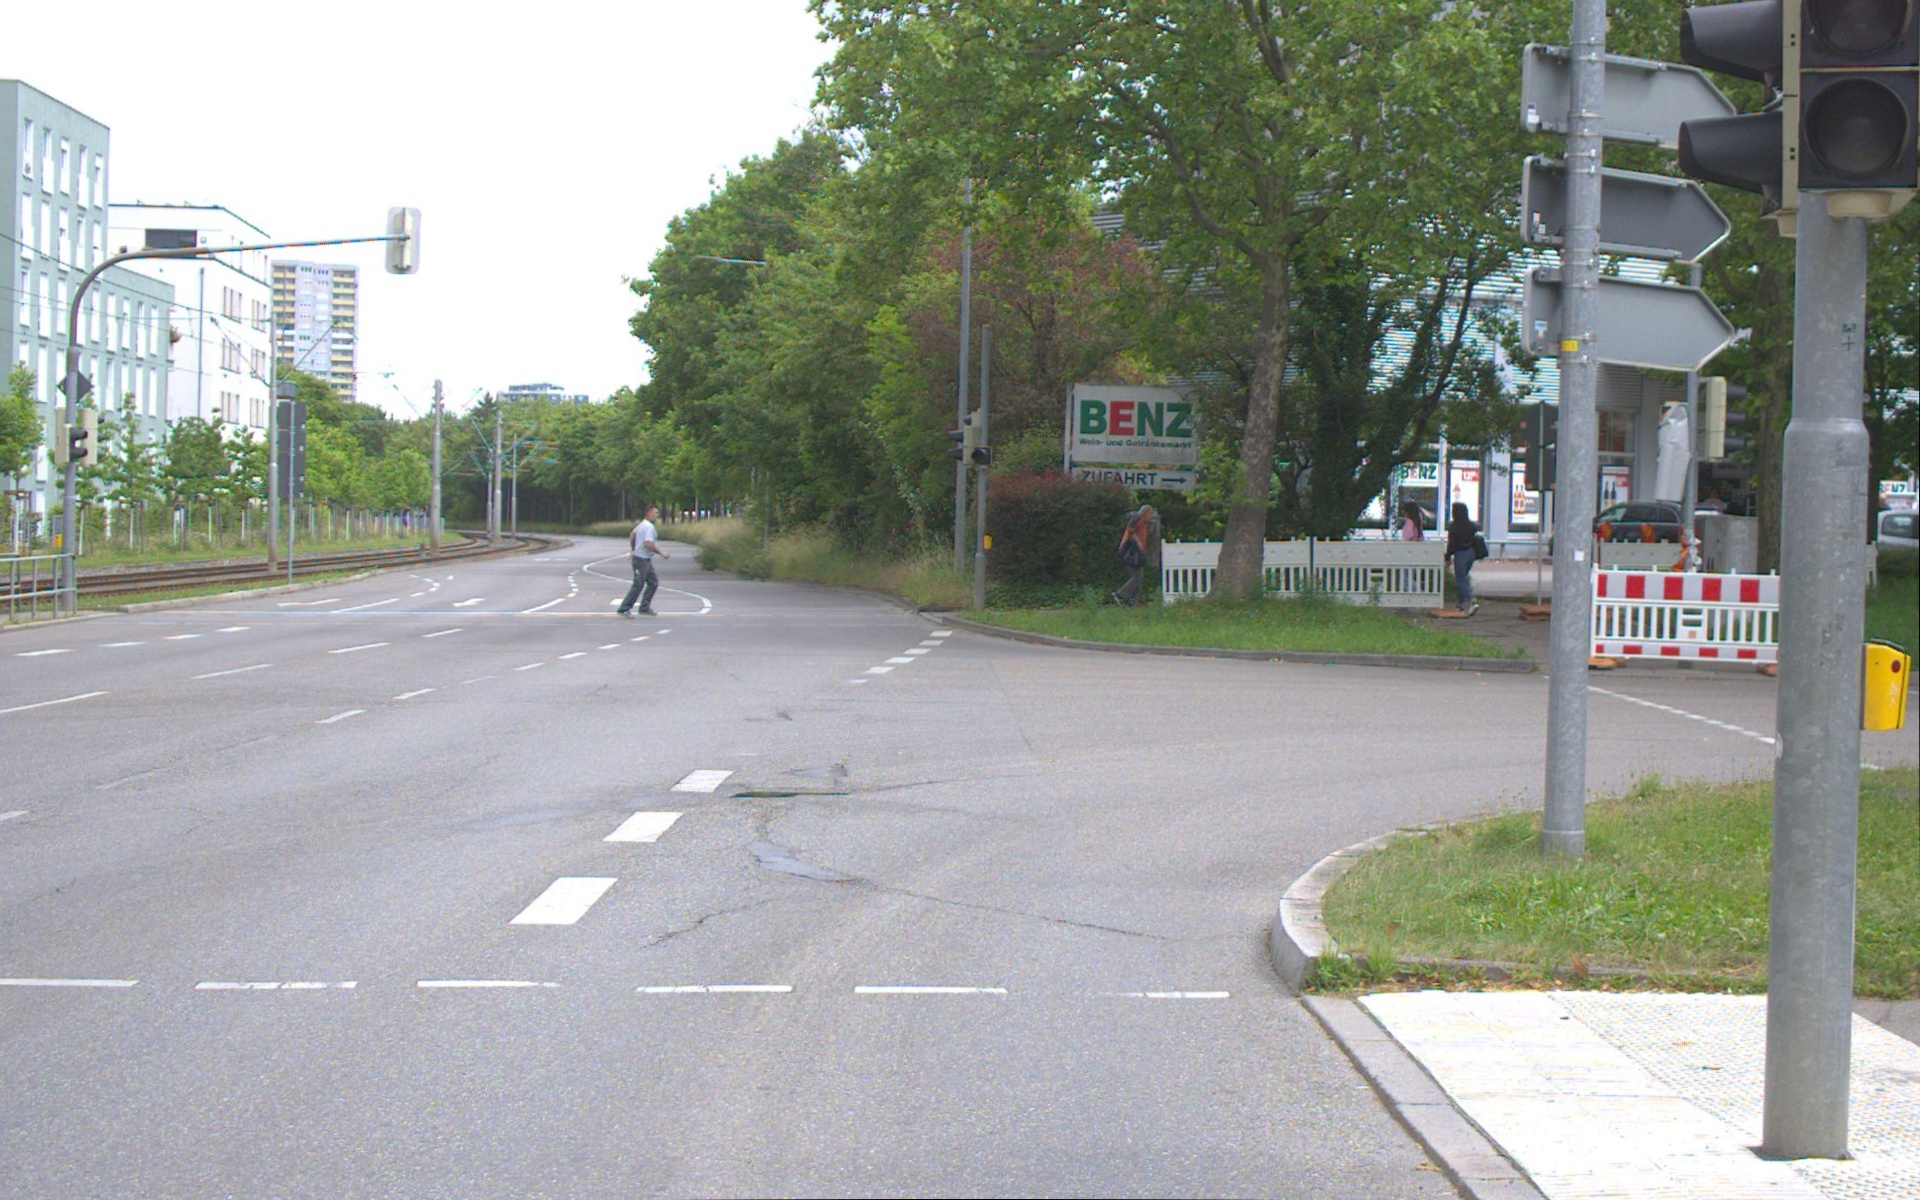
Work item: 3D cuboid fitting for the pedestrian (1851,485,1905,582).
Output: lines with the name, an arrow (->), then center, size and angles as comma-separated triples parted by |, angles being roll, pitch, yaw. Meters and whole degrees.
pedestrian -> 19.026, -1.380, 71.270 | 0.804, 1.995, 0.853 | 1, 0, -5

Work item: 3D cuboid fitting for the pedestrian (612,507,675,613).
pedestrian -> -4.785, -0.604, 51.954 | 0.848, 1.581, 0.796 | 1, 0, 1

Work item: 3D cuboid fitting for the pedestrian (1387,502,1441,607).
pedestrian -> 6.467, -0.648, 48.976 | 0.686, 1.484, 0.699 | 1, 0, 3

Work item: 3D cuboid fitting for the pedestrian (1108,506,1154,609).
pedestrian -> 2.584, -0.647, 51.892 | 0.653, 1.533, 0.772 | 1, 0, 4

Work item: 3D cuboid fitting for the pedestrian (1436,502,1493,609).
pedestrian -> 7.100, -0.624, 48.381 | 0.718, 1.484, 0.699 | 1, 0, 4

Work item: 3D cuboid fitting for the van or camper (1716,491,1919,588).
van or camper -> 15.667, -1.114, 61.989 | 1.840, 1.678, 4.001 | -1, 2, -28

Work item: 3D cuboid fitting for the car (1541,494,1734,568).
car -> 14.244, -1.443, 72.503 | 1.728, 1.495, 4.269 | 1, 1, -27

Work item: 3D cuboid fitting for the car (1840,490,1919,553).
car -> 21.825, -1.782, 78.211 | 1.480, 1.399, 3.409 | 1, 1, -31
